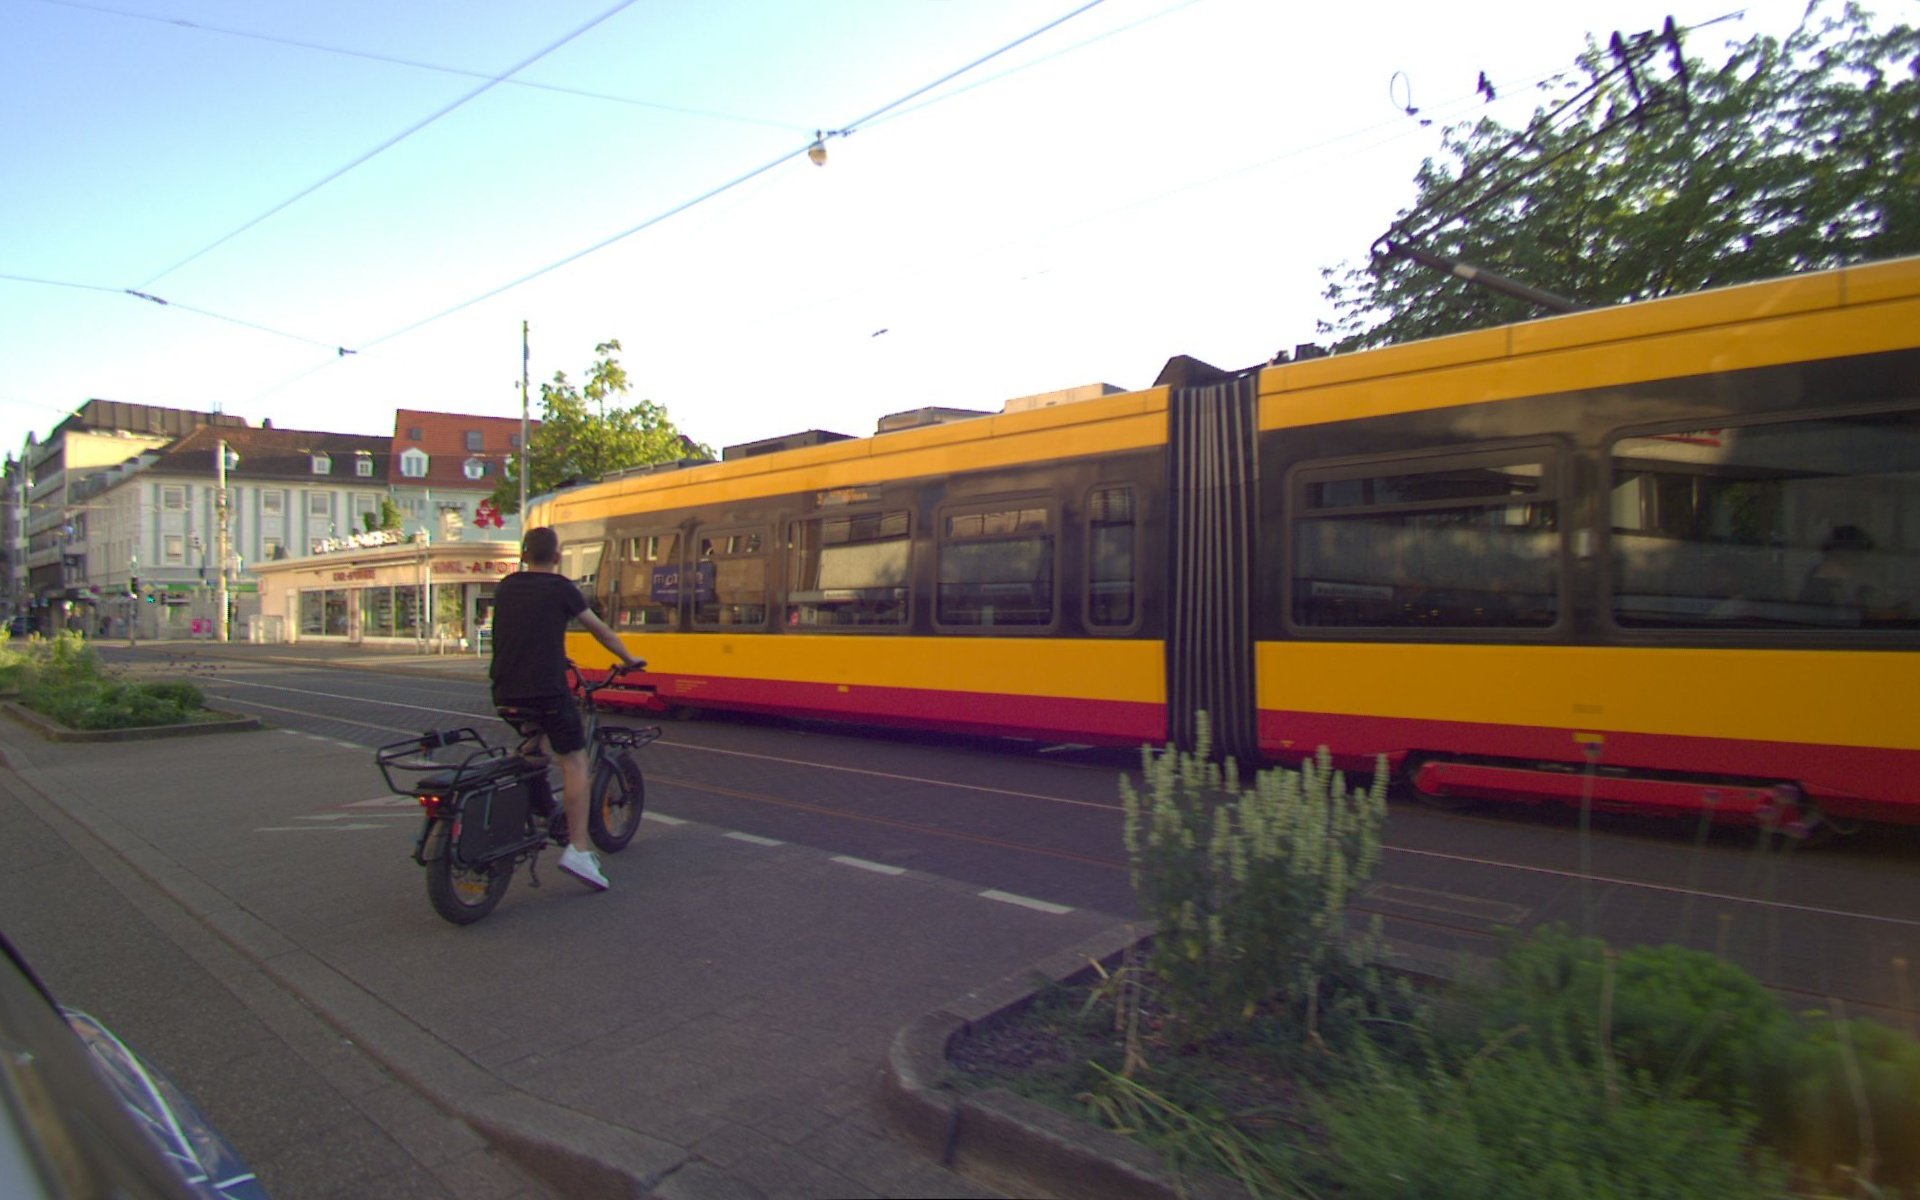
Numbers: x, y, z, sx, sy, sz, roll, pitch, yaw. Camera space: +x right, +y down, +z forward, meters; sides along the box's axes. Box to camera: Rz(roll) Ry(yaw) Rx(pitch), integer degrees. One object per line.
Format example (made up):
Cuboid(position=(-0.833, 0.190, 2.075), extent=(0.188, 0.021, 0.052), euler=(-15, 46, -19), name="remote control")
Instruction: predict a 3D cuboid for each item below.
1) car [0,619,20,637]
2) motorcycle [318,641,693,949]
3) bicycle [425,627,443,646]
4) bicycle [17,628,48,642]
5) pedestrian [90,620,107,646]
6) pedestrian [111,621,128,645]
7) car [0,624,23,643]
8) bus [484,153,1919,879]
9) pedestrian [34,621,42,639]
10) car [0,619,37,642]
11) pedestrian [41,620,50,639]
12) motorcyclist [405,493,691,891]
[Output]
Cuboid(position=(-90.369, 2.656, 95.679), extent=(3.999, 1.569, 1.796), euler=(1, 0, 41), name="car")
Cuboid(position=(-2.113, 0.816, 5.083), extent=(0.563, 1.132, 2.041), euler=(1, 0, 14), name="motorcycle")
Cuboid(position=(-30.701, 2.108, 59.095), extent=(0.550, 1.051, 2.160), euler=(1, -2, -17), name="bicycle")
Cuboid(position=(-70.778, 2.691, 77.258), extent=(1.715, 1.067, 0.499), euler=(1, -3, -41), name="bicycle")
Cuboid(position=(-59.184, 2.290, 69.521), extent=(0.815, 1.741, 0.815), euler=(-1, 0, -42), name="pedestrian")
Cuboid(position=(-58.543, 2.293, 70.514), extent=(0.814, 1.653, 0.816), euler=(-1, 0, -33), name="pedestrian")
Cuboid(position=(-84.539, 2.977, 89.714), extent=(3.997, 1.636, 1.679), euler=(-2, -1, 41), name="car")
Cuboid(position=(-0.354, -0.281, 11.629), extent=(17.065, 3.679, 2.792), euler=(-1, -2, 42), name="bus")
Cuboid(position=(-86.234, 2.794, 94.656), extent=(0.583, 1.697, 0.503), euler=(0, 0, 40), name="pedestrian")
Cuboid(position=(-79.920, 2.546, 85.857), extent=(4.127, 1.809, 1.890), euler=(0, 1, 41), name="car")
Cuboid(position=(-85.864, 2.753, 95.039), extent=(0.600, 1.747, 0.509), euler=(1, 0, 41), name="pedestrian")
Cuboid(position=(-2.084, 0.415, 5.248), extent=(0.950, 1.827, 1.000), euler=(1, 0, 14), name="motorcyclist")
